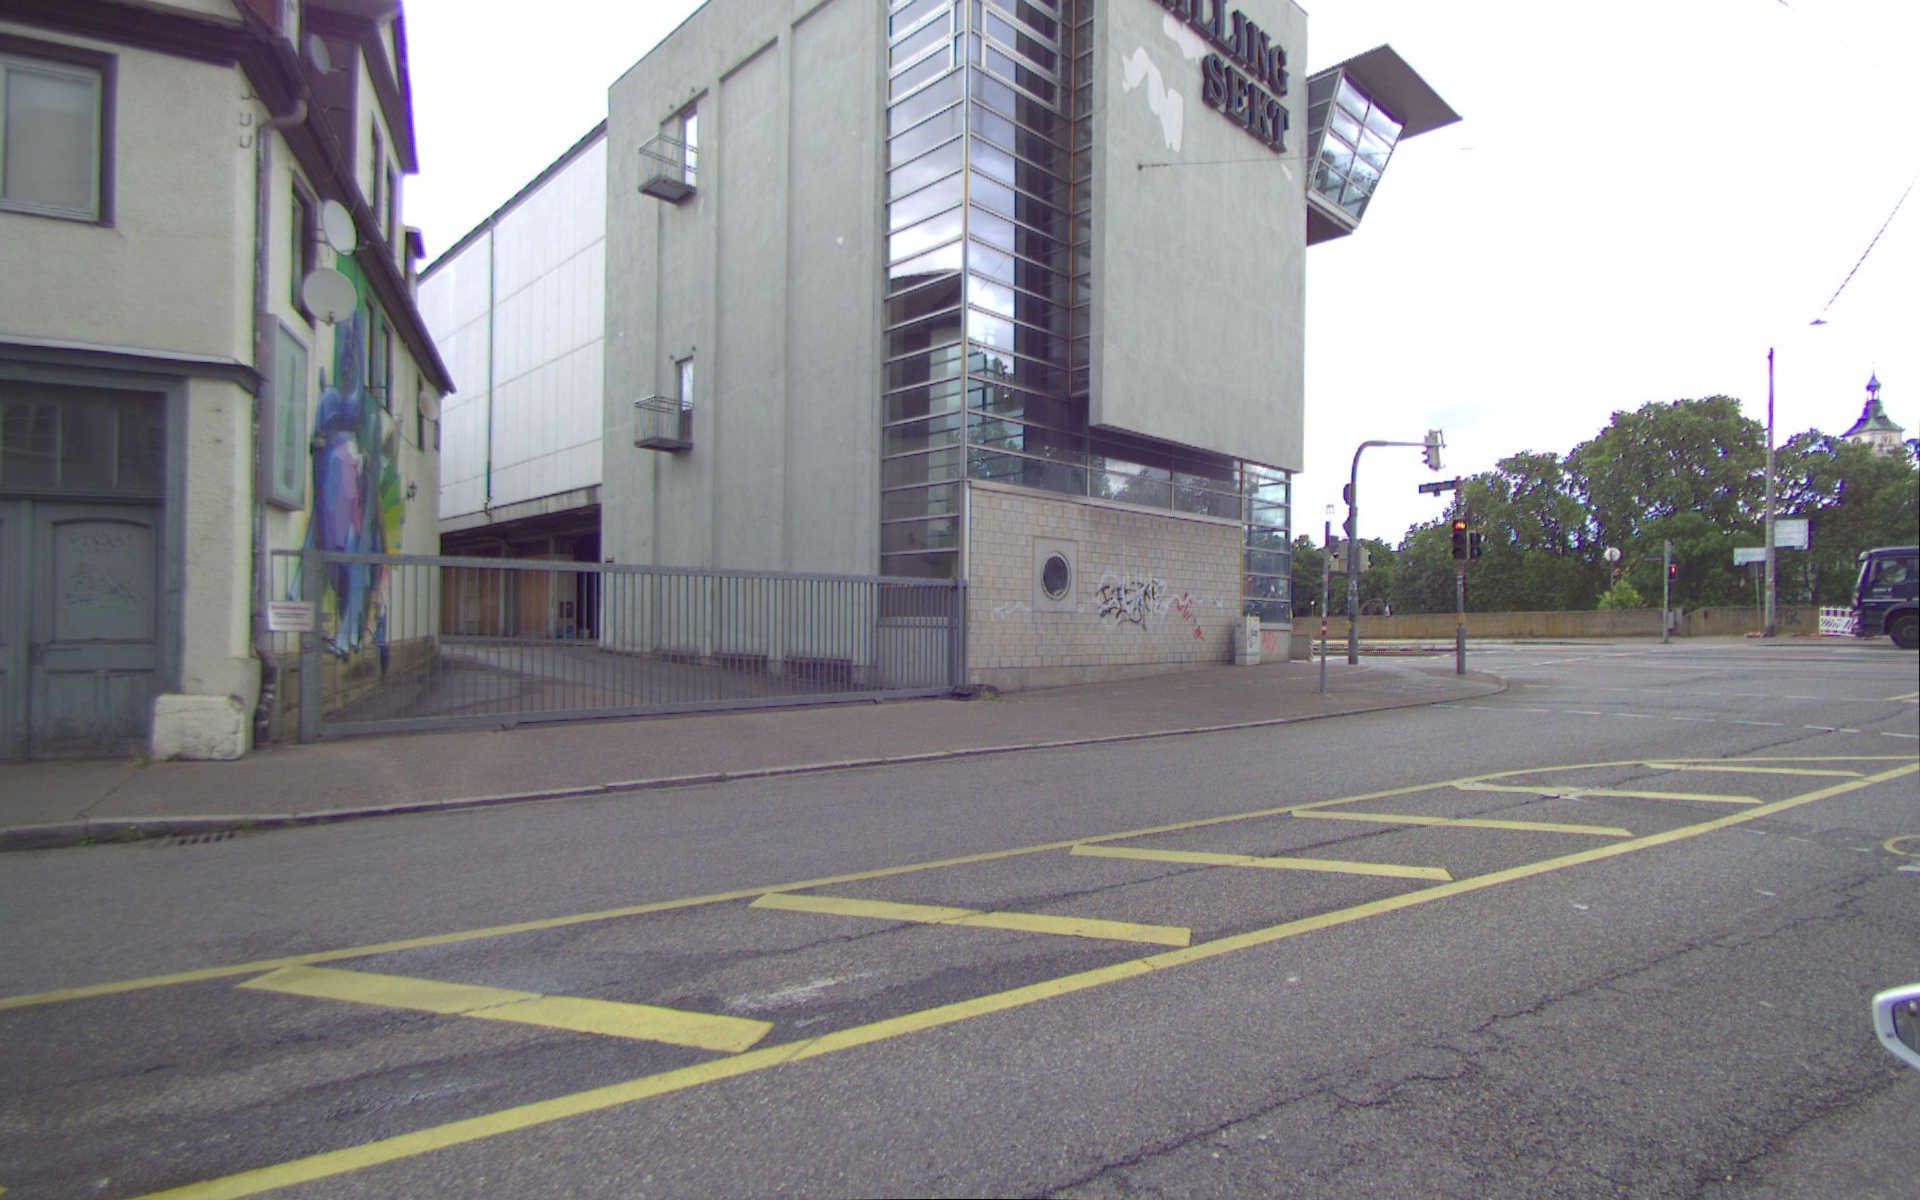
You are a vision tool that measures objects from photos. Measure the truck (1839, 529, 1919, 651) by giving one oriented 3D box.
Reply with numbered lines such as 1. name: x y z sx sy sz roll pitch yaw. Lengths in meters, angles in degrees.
1. truck: 32.467 -0.296 29.329 2.255 3.745 10.086 1 -1 -44
